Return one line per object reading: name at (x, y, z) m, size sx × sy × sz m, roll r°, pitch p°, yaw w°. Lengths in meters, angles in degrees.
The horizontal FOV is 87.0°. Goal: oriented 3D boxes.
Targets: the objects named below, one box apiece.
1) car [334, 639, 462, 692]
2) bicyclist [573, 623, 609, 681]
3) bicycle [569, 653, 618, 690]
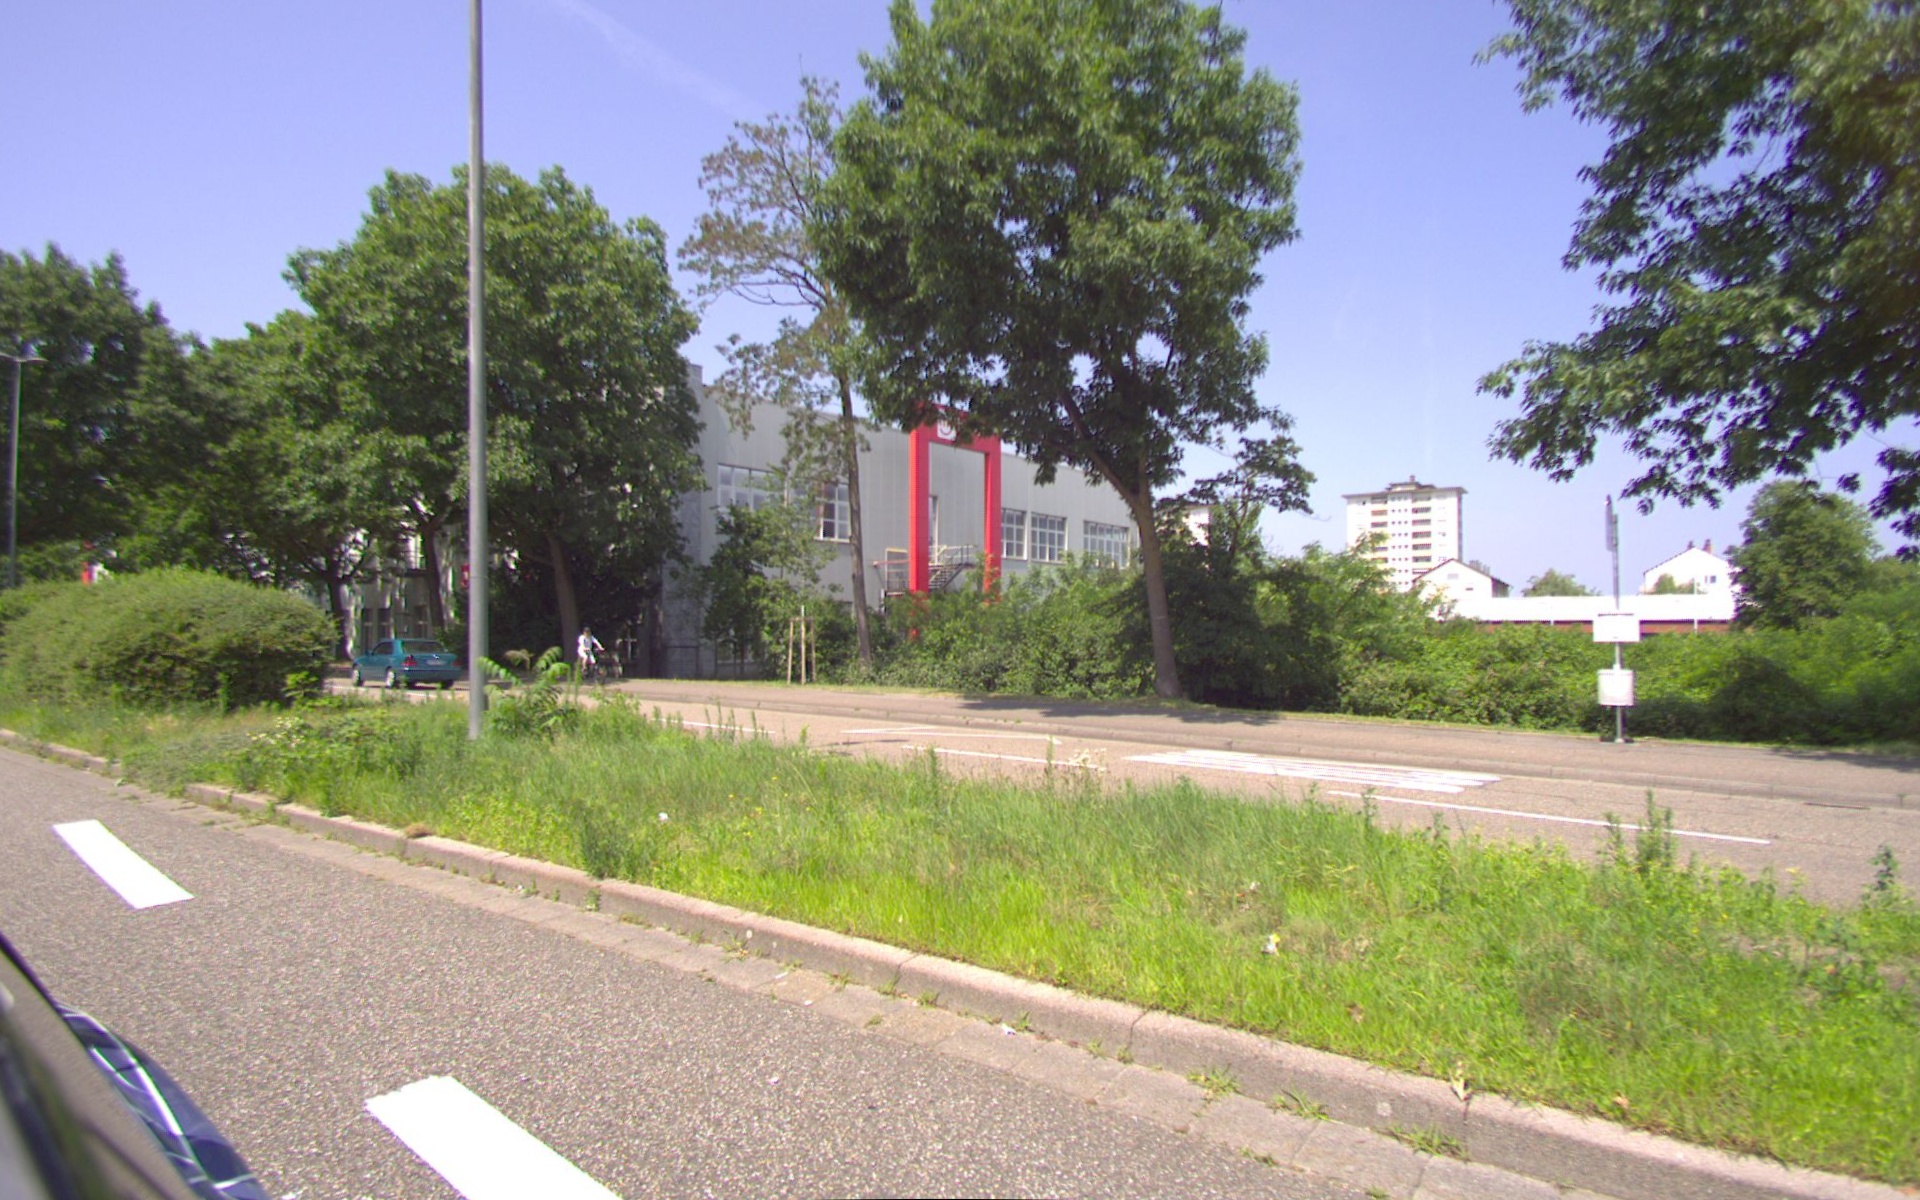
car at (-16.301, 1.874, 29.260) m, size 4.585 × 1.398 × 1.668 m, roll -2°, pitch -5°, yaw 41°
bicyclist at (-10.618, 1.489, 29.132) m, size 0.923 × 1.643 × 0.601 m, roll -2°, pitch -3°, yaw 42°
bicycle at (-10.532, 2.035, 29.033) m, size 1.660 × 0.976 × 0.610 m, roll -2°, pitch -3°, yaw 43°
